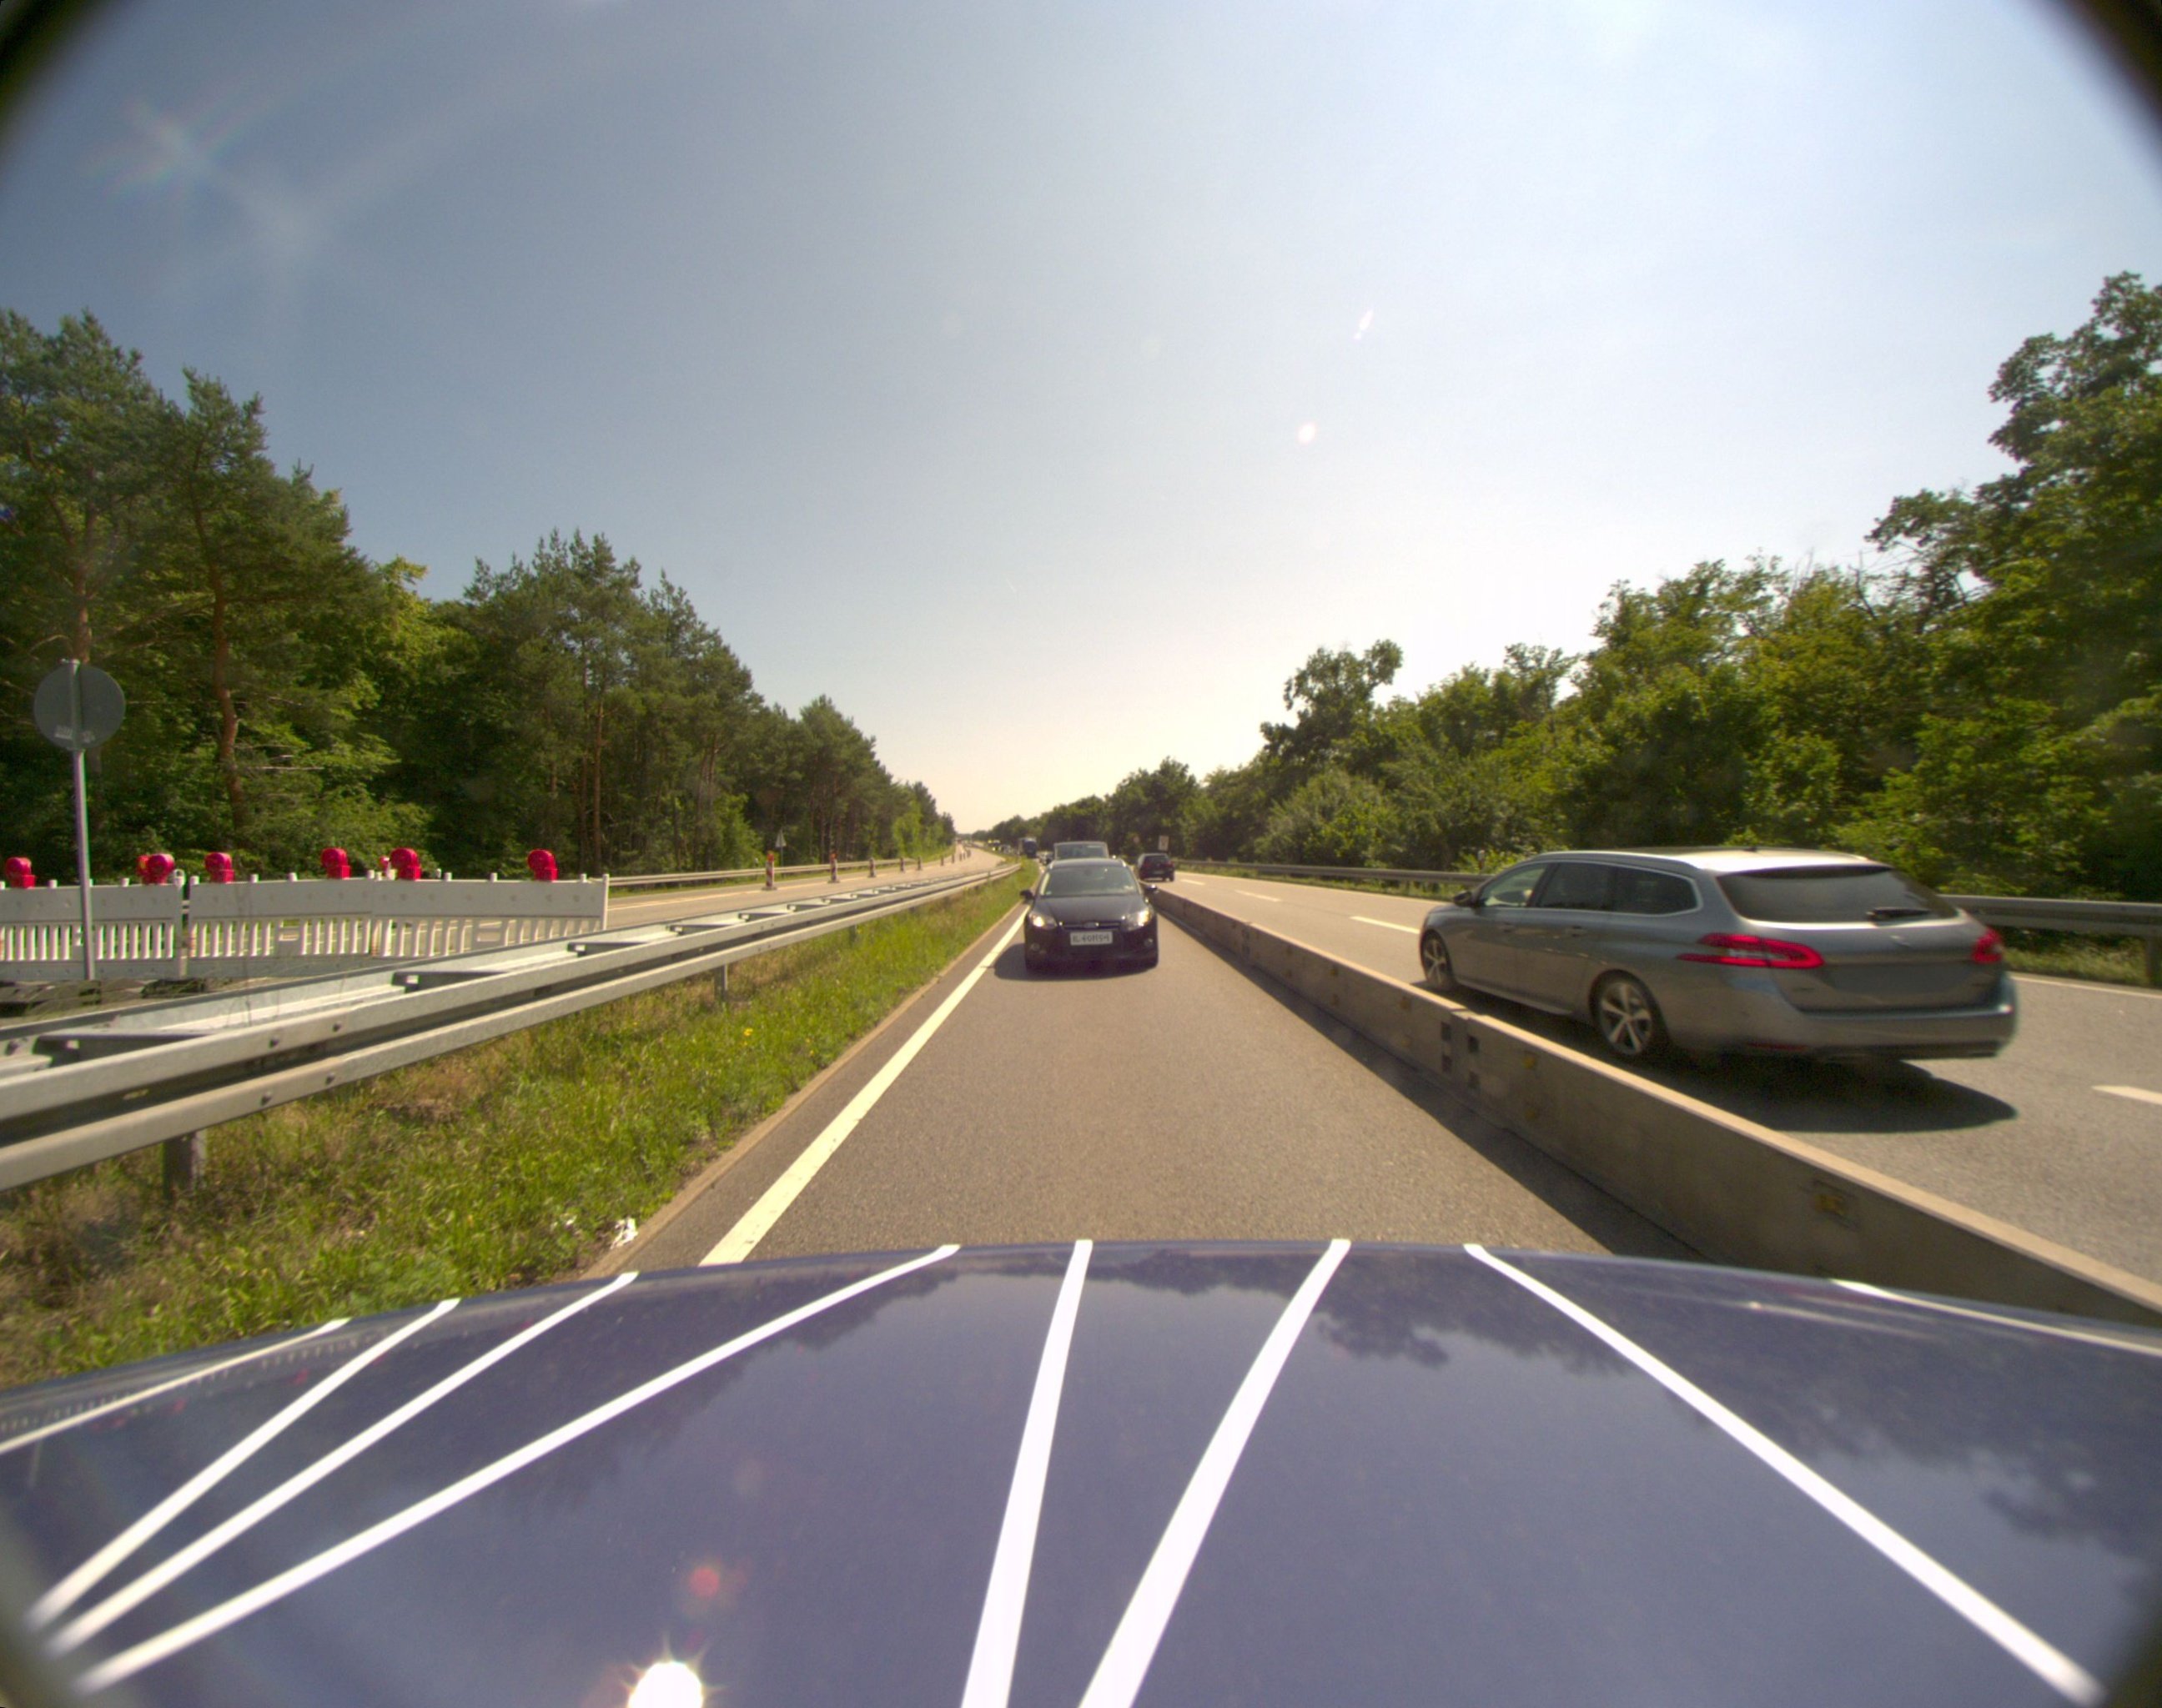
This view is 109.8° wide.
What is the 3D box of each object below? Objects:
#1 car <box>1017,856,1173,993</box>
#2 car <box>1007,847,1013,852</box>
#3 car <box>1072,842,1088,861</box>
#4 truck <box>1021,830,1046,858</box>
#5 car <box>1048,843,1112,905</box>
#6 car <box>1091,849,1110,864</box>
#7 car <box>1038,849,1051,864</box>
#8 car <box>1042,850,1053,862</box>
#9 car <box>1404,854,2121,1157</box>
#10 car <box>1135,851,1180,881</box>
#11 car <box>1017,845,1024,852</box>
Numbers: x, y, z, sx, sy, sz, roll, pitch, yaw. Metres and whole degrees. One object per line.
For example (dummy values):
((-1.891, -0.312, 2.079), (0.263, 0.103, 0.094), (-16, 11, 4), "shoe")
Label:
((0.035, 0.869, 11.757), (1.847, 1.537, 4.933), (-2, 1, -3), "car")
((-21.171, -1.306, 226.040), (1.528, 1.647, 3.978), (0, 0, -7), "car")
((-0.218, -0.384, 106.722), (2.067, 2.471, 5.559), (-2, 1, -2), "car")
((-9.412, -1.899, 150.398), (3.832, 5.266, 11.236), (-1, 1, -9), "truck")
((-0.086, 0.623, 26.088), (1.960, 1.901, 4.934), (-1, 0, -1), "car")
((2.150, 0.253, 85.011), (1.853, 1.592, 4.320), (-1, 1, -2), "car")
((-4.364, 0.273, 91.324), (1.527, 1.647, 3.979), (-1, 0, -3), "car")
((-4.783, 0.268, 108.145), (1.527, 1.647, 3.753), (0, 0, -3), "car")
((4.423, 0.771, 6.069), (1.729, 1.487, 4.388), (-2, 0, -1), "car")
((3.918, 0.596, 39.446), (1.820, 1.416, 4.108), (-2, 0, -1), "car")
((-14.609, -1.443, 184.432), (1.527, 1.647, 3.979), (-1, 1, -3), "car")
